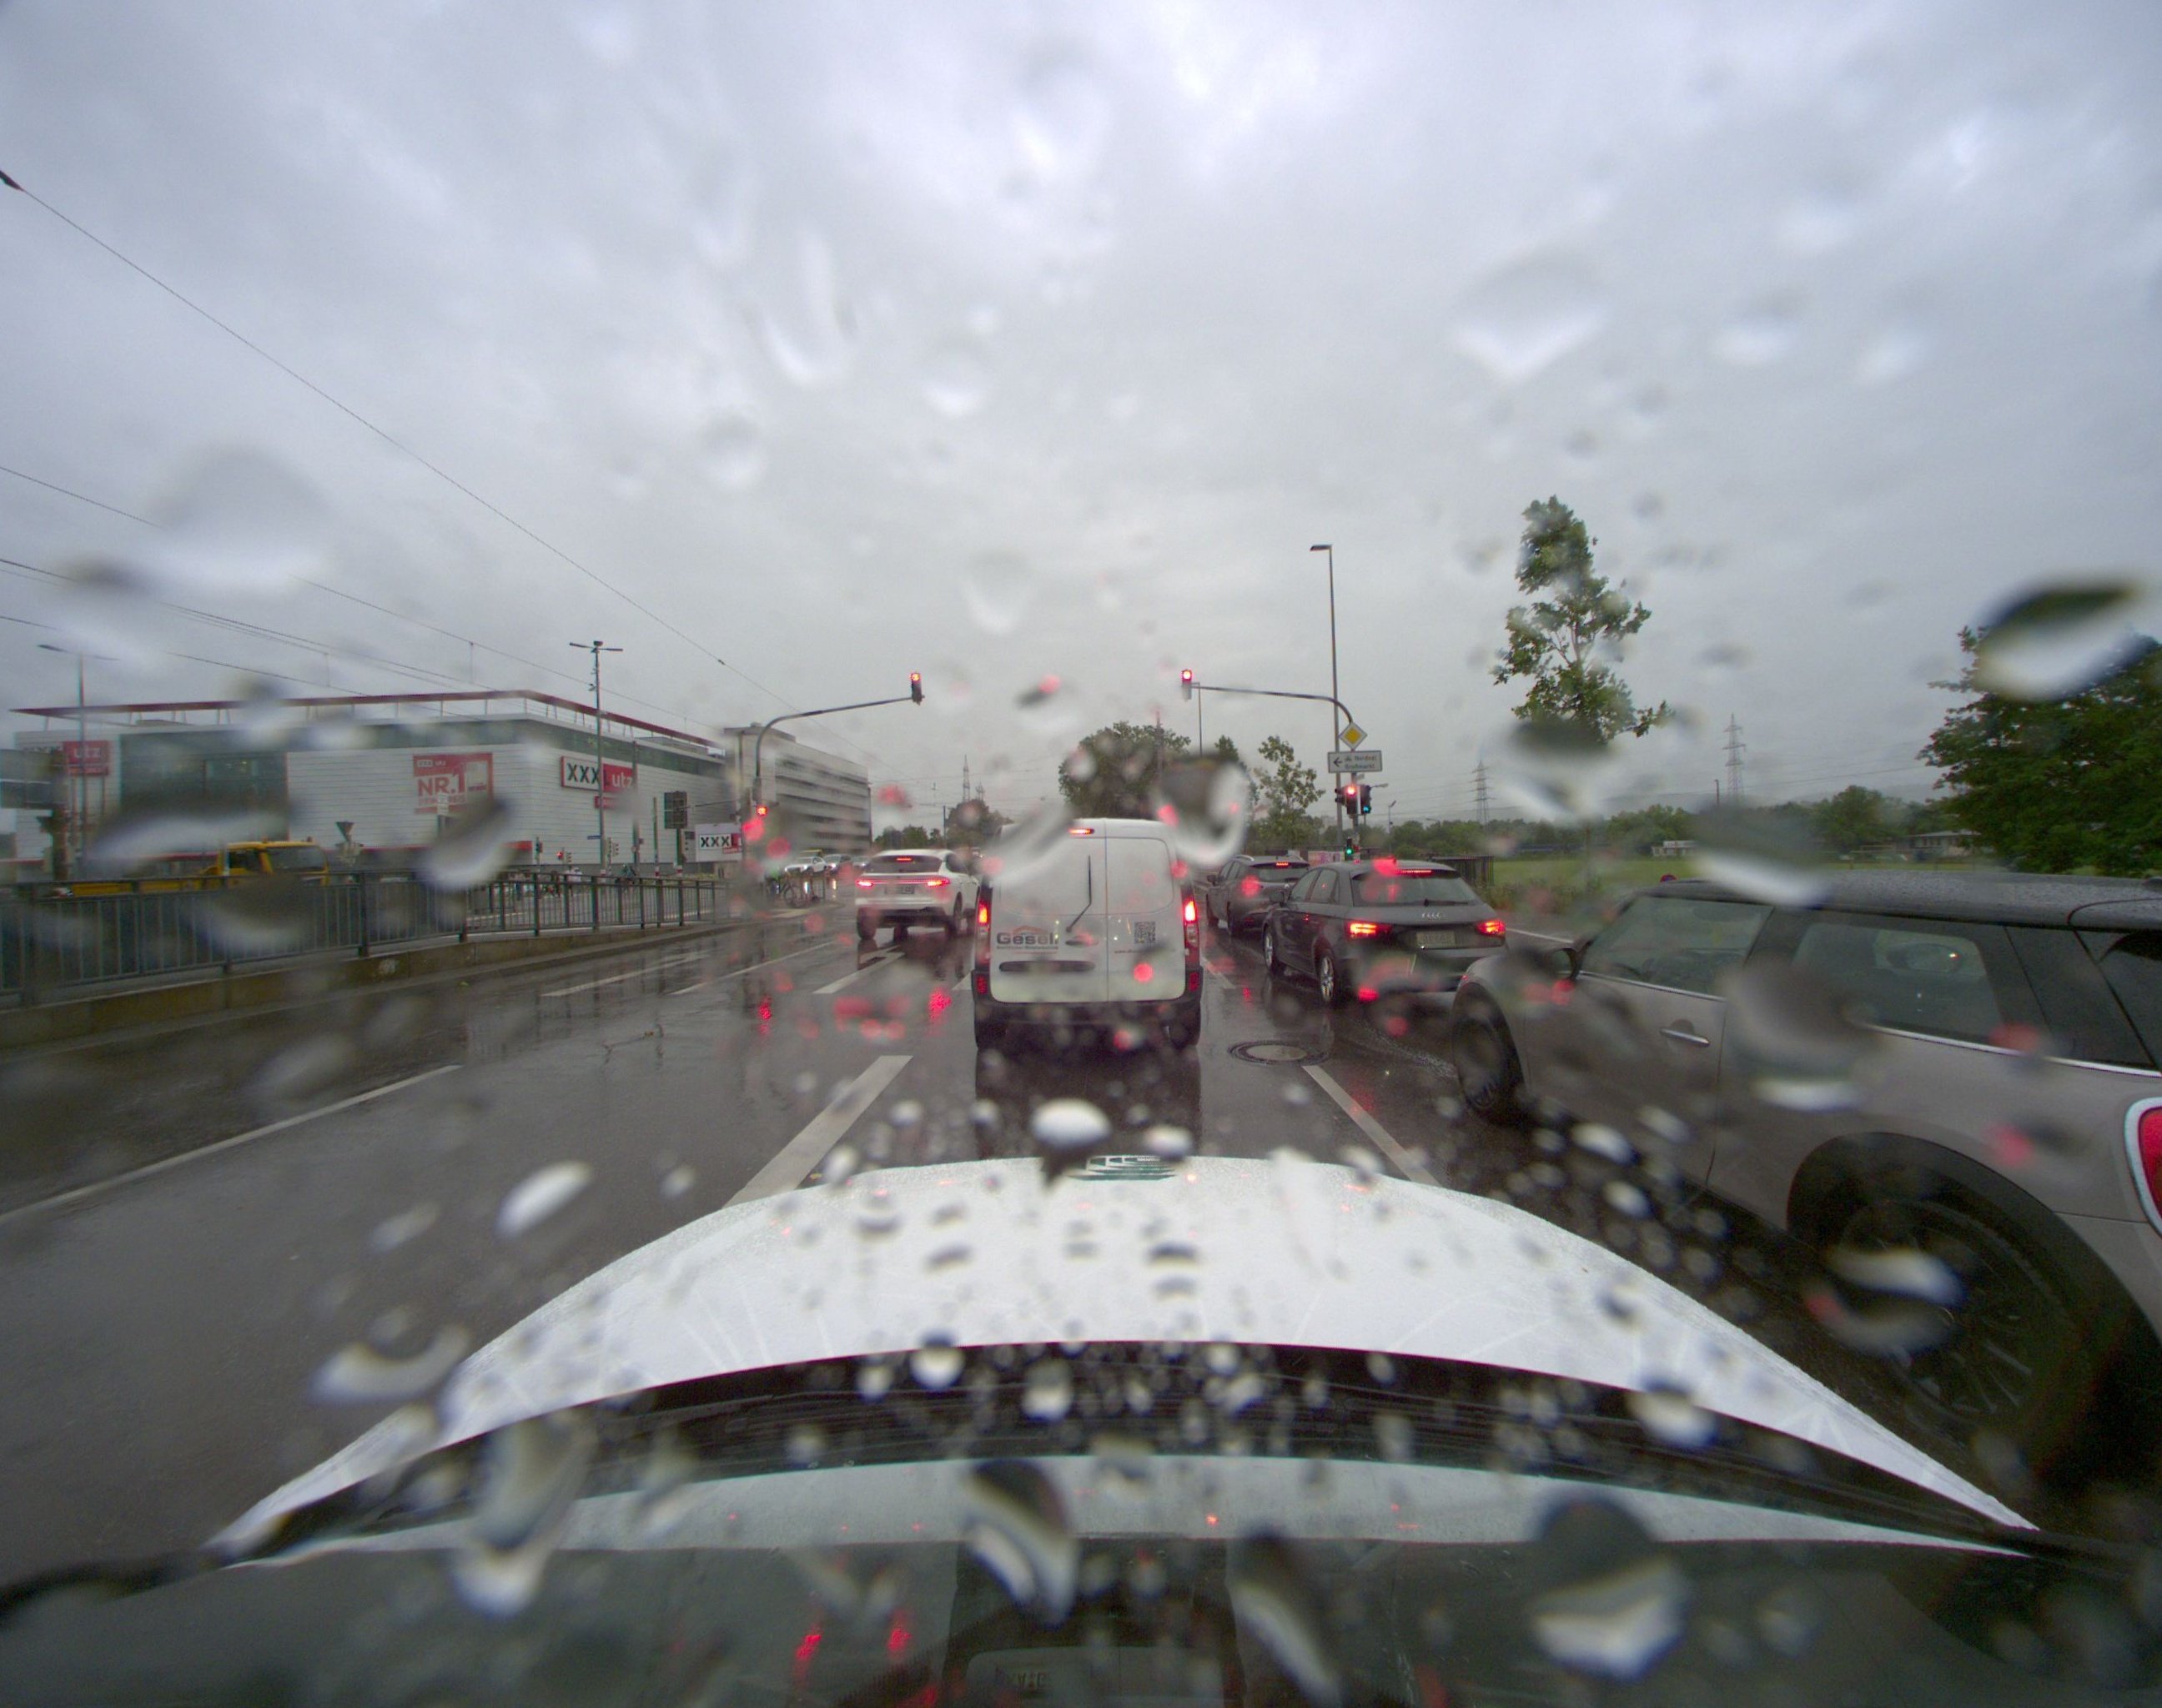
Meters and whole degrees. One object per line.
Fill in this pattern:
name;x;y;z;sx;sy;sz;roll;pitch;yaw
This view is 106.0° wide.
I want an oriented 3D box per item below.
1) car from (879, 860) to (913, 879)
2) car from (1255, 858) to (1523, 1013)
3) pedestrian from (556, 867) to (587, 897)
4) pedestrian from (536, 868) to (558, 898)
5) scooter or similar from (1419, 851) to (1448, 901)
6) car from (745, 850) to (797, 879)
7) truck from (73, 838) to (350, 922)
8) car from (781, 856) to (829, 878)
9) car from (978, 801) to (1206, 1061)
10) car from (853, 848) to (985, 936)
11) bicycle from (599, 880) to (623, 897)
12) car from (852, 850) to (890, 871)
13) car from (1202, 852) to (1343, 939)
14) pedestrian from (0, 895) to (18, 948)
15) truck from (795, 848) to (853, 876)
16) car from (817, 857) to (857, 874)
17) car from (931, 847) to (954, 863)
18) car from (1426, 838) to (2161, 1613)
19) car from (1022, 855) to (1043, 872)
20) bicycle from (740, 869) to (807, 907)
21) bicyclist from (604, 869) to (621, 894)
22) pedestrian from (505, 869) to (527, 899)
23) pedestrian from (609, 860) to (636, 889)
car;-17.666;1.462;78.028;1.919;1.827;4.007;0;-1;6
car;3.092;0.729;8.975;1.623;1.344;3.624;0;0;1
pedestrian;-29.074;1.593;46.520;1.016;1.632;1.088;-1;-1;11
pedestrian;-29.815;1.623;45.450;0.701;1.632;0.918;0;-1;-10
scooter or similar;8.433;0.511;19.500;0.244;1.158;1.187;0;-1;3
car;-23.072;0.774;60.708;1.983;2.014;4.007;0;-1;6
truck;-31.350;0.911;29.594;7.100;2.816;2.640;-1;-1;-1
car;-19.518;0.926;57.762;1.689;1.492;3.884;-1;-1;7
car;0.140;0.546;7.669;1.560;1.788;4.002;-1;0;2
car;-3.075;0.647;16.371;1.723;1.535;4.298;0;0;1
bicycle;-28.503;2.096;49.405;0.448;0.987;1.710;0;-1;3
car;-18.275;0.557;70.989;1.883;1.699;4.006;0;-1;6
car;3.497;0.693;15.574;1.853;1.428;3.808;0;0;1
pedestrian;-32.448;2.016;24.192;0.561;1.537;0.872;0;-1;1
truck;-22.356;0.677;71.153;2.342;2.279;7.637;0;0;2
car;-19.056;0.904;63.734;1.579;1.336;3.837;0;-1;6
car;-17.788;0.124;104.643;1.985;2.014;4.003;0;-1;3
car;2.975;0.716;3.250;1.707;1.508;3.624;0;0;1
car;-4.421;0.871;73.954;1.613;1.503;3.705;0;-1;-8
bicycle;-8.944;0.984;23.727;1.745;1.034;0.414;2;-1;0
bicyclist;-28.454;1.668;49.462;0.681;1.464;0.647;0;-1;3
pedestrian;-31.355;1.638;45.211;0.701;1.632;0.918;0;-1;-10
pedestrian;-26.623;1.193;47.279;0.912;1.632;1.015;-1;-1;12
